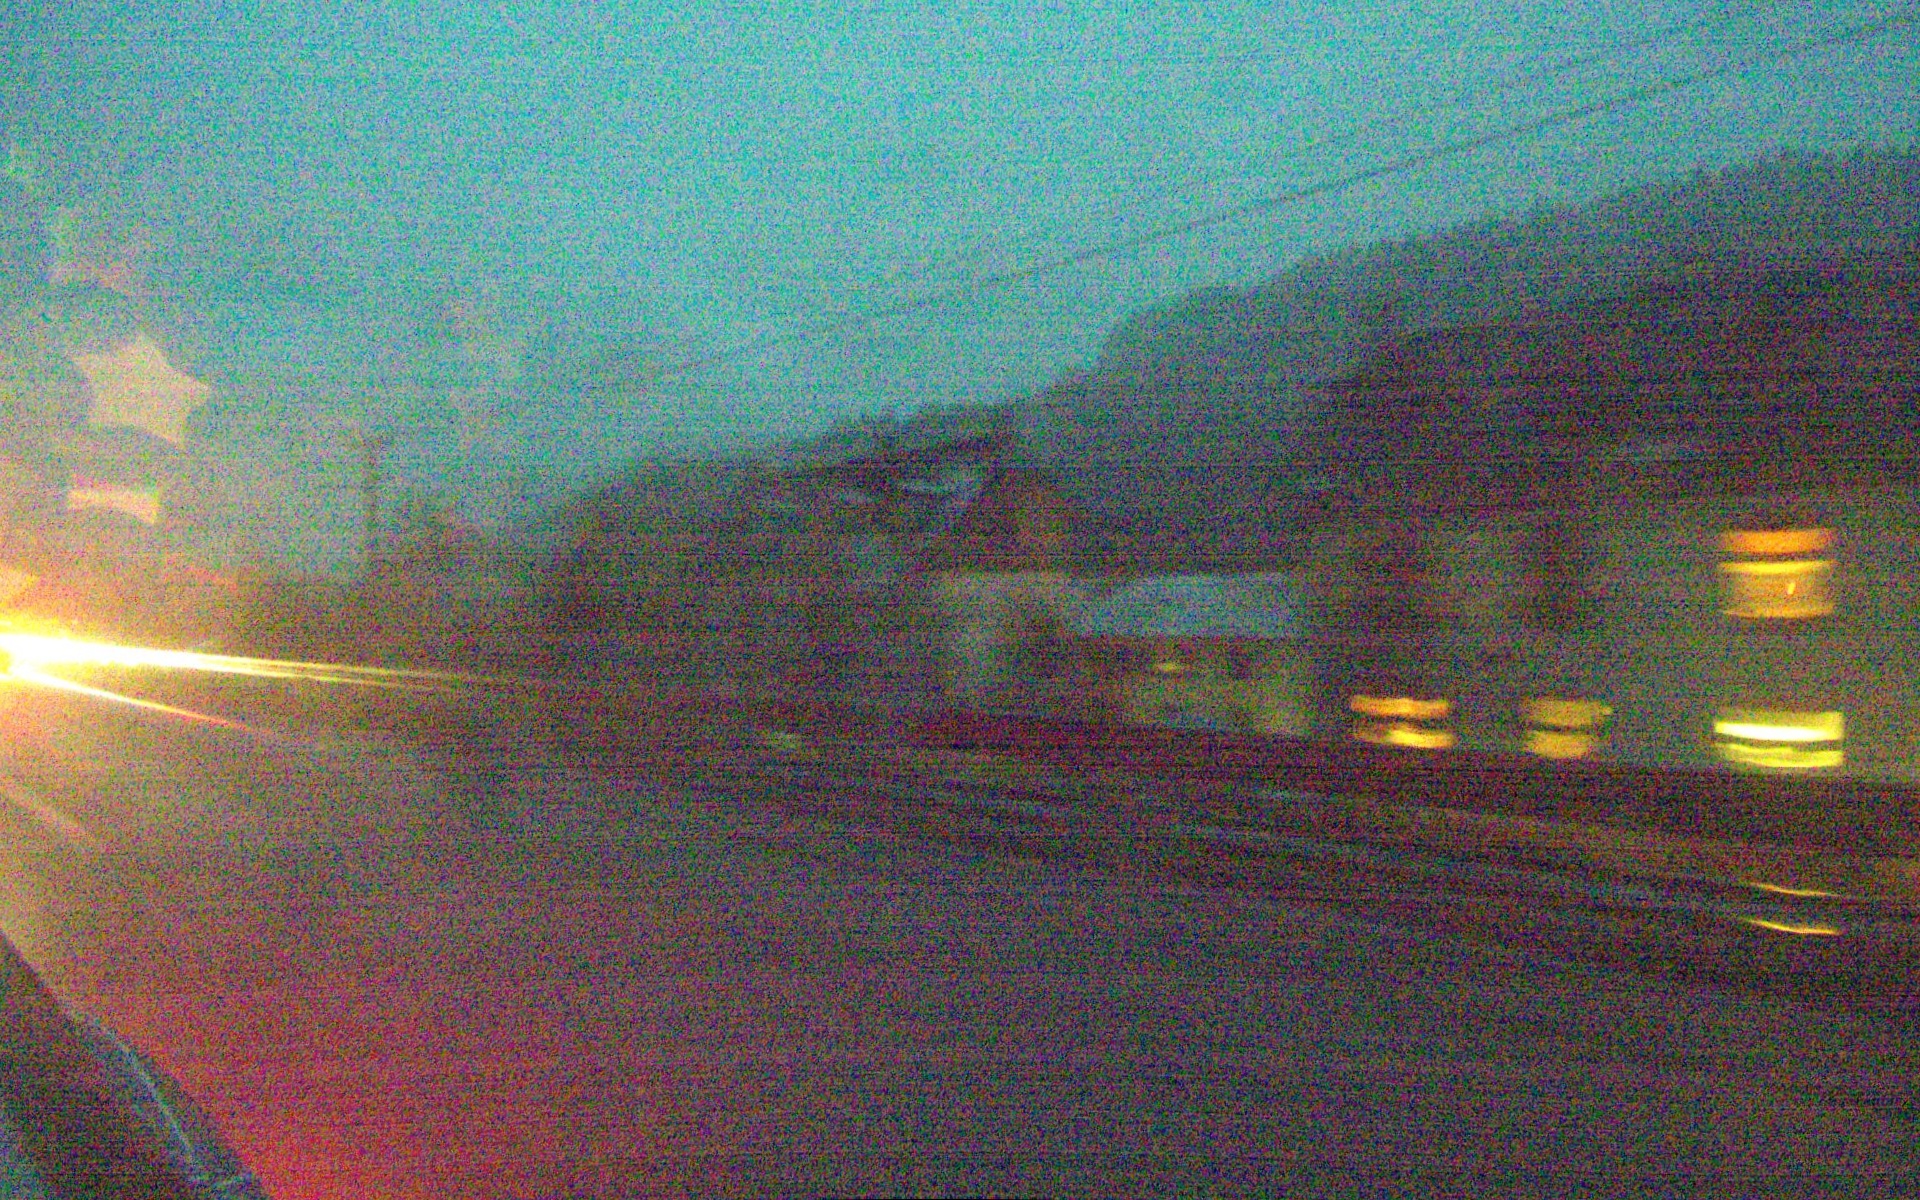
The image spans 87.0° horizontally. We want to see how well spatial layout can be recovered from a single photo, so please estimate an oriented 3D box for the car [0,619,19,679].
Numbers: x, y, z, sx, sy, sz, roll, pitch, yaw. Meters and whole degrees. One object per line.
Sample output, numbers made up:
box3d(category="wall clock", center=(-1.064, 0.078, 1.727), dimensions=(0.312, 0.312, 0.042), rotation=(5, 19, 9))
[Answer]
box3d(category="car", center=(-27.240, 1.343, 27.715), dimensions=(3.778, 1.580, 1.810), rotation=(-1, -1, 42))
